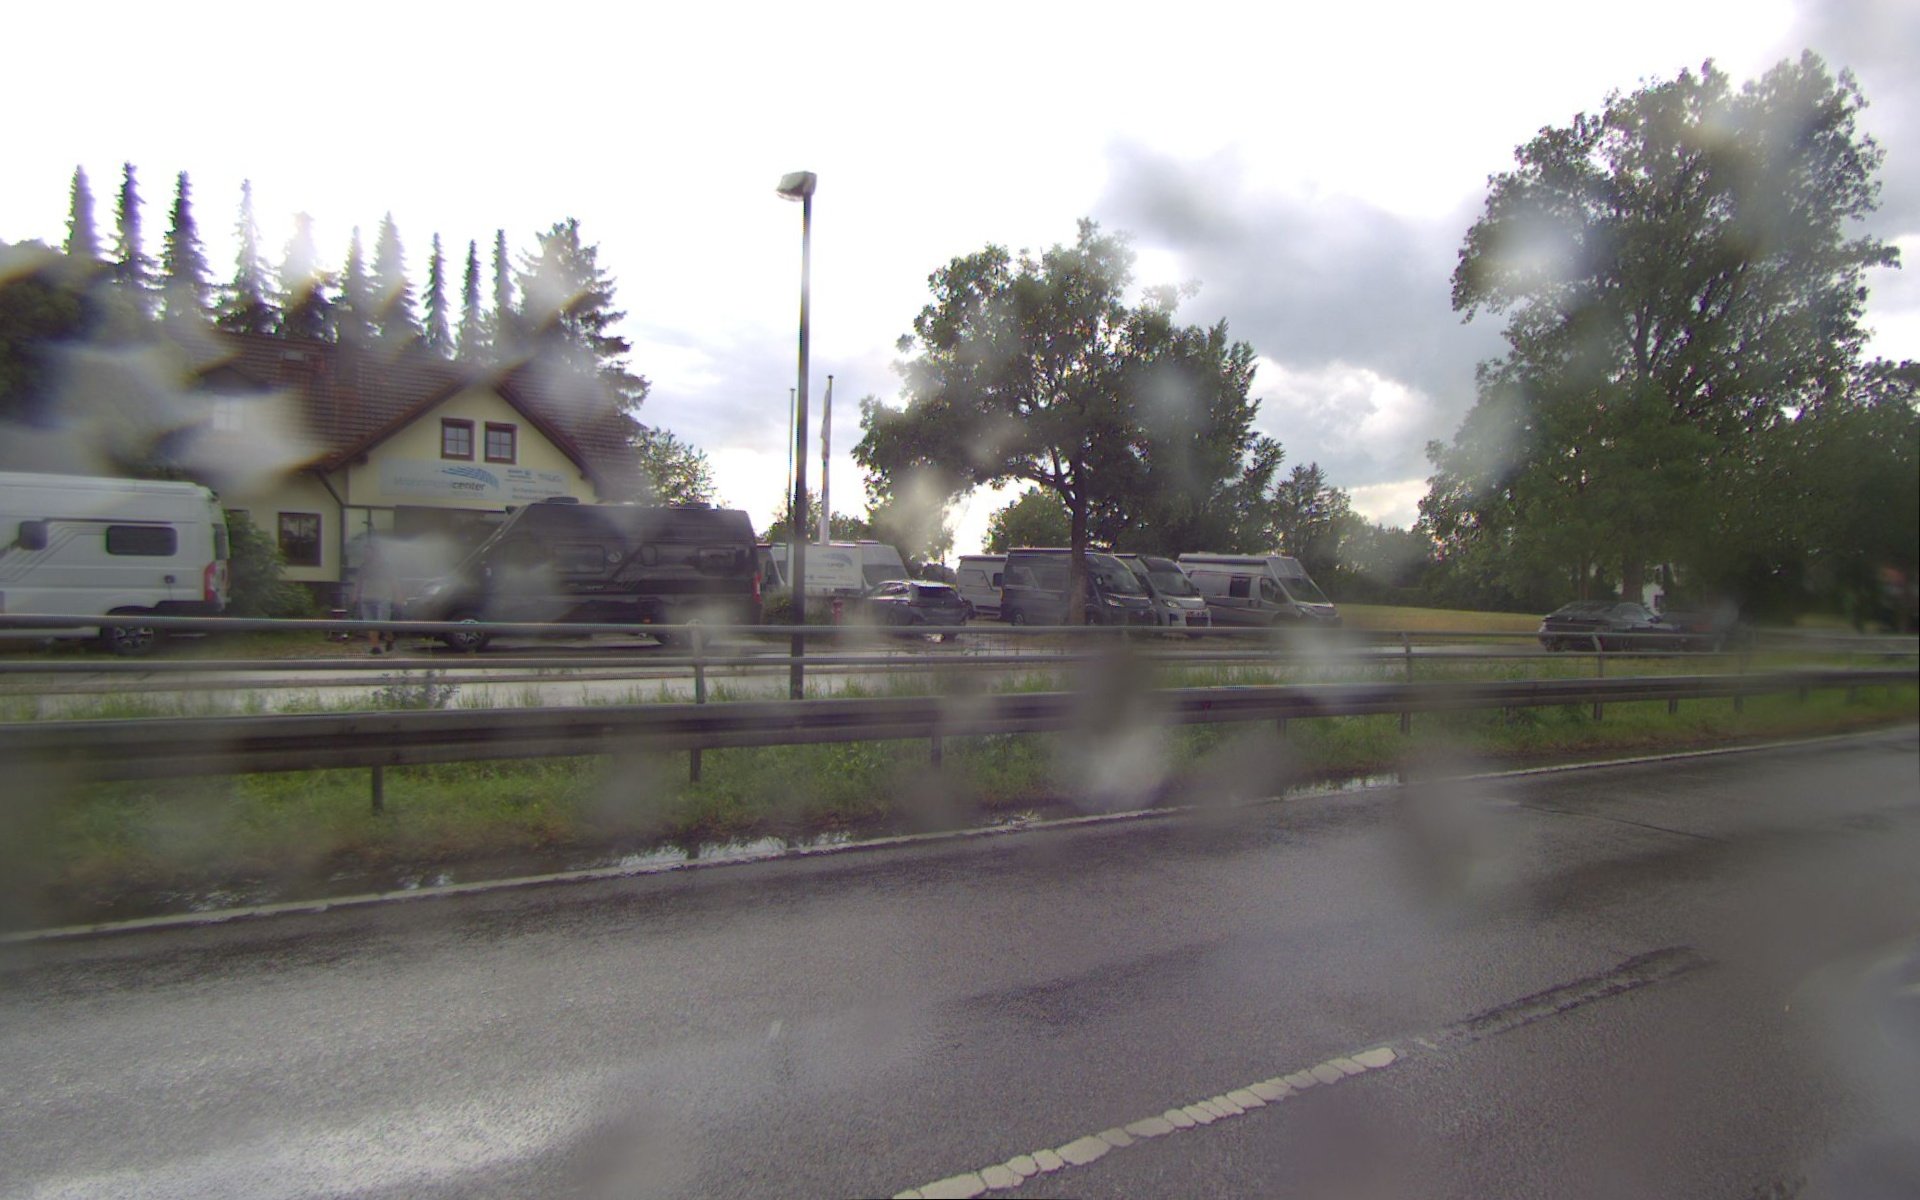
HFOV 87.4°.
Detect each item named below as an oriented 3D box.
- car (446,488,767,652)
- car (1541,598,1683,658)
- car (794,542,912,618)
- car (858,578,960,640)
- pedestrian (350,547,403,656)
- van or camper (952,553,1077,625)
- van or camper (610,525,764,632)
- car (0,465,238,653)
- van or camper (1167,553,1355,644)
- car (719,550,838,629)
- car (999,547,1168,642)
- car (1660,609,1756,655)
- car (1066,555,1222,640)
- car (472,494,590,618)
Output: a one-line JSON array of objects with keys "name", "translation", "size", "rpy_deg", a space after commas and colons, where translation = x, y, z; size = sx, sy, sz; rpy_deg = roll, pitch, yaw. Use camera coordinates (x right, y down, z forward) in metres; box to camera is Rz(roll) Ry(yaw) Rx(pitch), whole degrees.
[{"name": "car", "translation": [-6.847, -0.508, 19.646], "size": [5.512, 2.800, 2.369], "rpy_deg": [1, 2, -33]}, {"name": "car", "translation": [18.362, 0.768, 28.184], "size": [5.070, 1.511, 1.505], "rpy_deg": [1, 2, -35]}, {"name": "car", "translation": [-4.082, -0.767, 37.125], "size": [2.066, 2.573, 6.063], "rpy_deg": [1, 1, -30]}, {"name": "car", "translation": [-1.477, 0.195, 27.560], "size": [1.518, 1.516, 3.874], "rpy_deg": [1, 2, -23]}, {"name": "pedestrian", "translation": [-9.475, 0.021, 16.332], "size": [0.641, 1.733, 0.514], "rpy_deg": [1, 2, -22]}, {"name": "van or camper", "translation": [2.035, -0.496, 39.675], "size": [1.977, 2.625, 5.774], "rpy_deg": [1, 2, -31]}, {"name": "van or camper", "translation": [-7.776, -0.615, 28.003], "size": [2.533, 2.626, 6.190], "rpy_deg": [1, 2, -31]}, {"name": "car", "translation": [-14.344, -0.621, 14.669], "size": [5.951, 2.615, 2.225], "rpy_deg": [1, 2, -32]}, {"name": "van or camper", "translation": [9.650, -0.137, 32.775], "size": [2.060, 2.713, 5.836], "rpy_deg": [1, 2, -35]}, {"name": "car", "translation": [-6.364, -0.401, 34.515], "size": [2.066, 2.449, 6.063], "rpy_deg": [1, 1, -30]}, {"name": "car", "translation": [3.519, -0.234, 29.673], "size": [1.980, 2.535, 5.148], "rpy_deg": [1, 2, -35]}, {"name": "car", "translation": [23.734, 1.004, 31.830], "size": [3.859, 1.349, 1.274], "rpy_deg": [1, 1, -35]}, {"name": "car", "translation": [5.780, -0.155, 32.247], "size": [1.978, 2.492, 5.063], "rpy_deg": [1, 2, -32]}, {"name": "car", "translation": [-11.230, -1.088, 26.035], "size": [2.141, 2.802, 5.611], "rpy_deg": [1, 1, -30]}]
